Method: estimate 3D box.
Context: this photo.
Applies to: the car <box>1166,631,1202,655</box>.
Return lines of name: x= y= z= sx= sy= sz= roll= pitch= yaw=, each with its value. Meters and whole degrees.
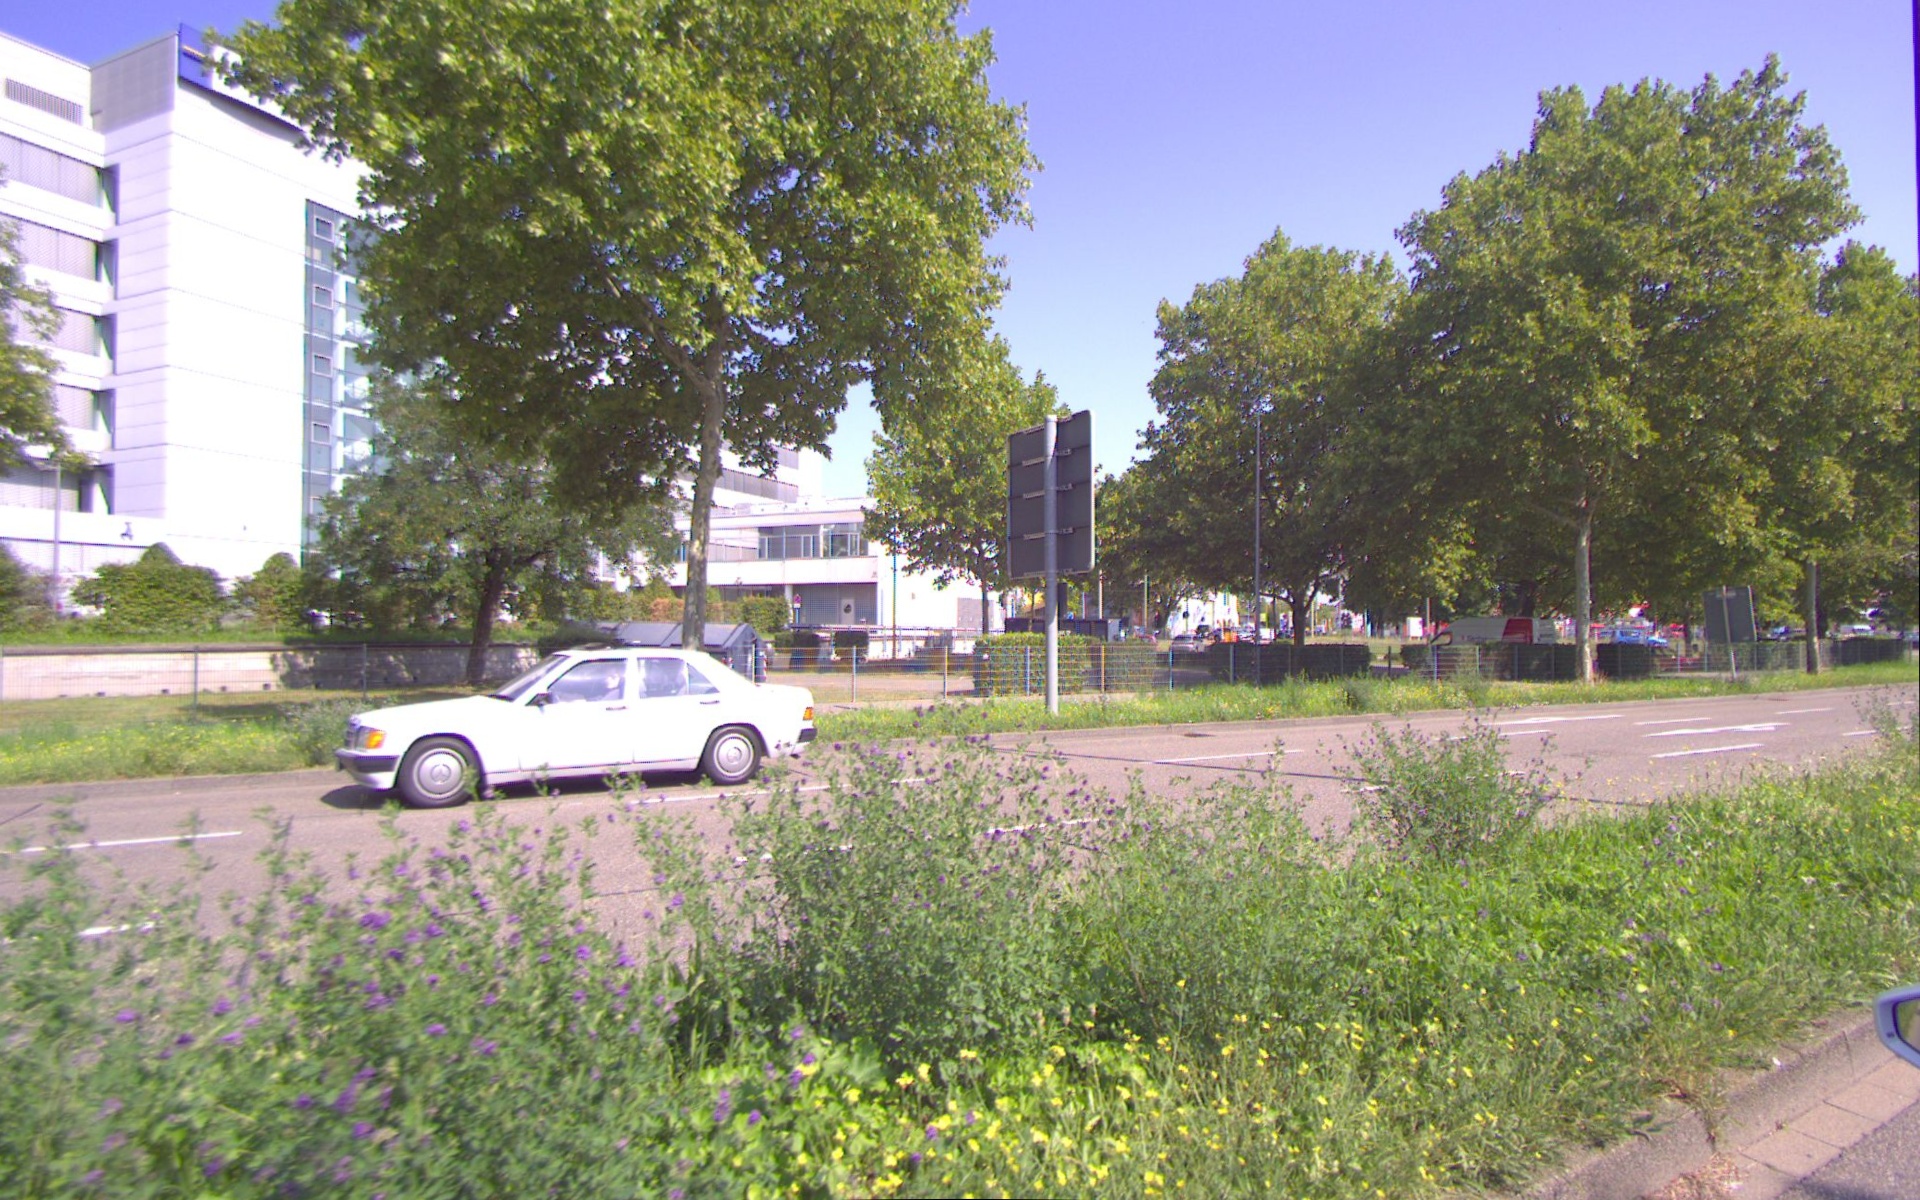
car: x=16.542 y=3.134 z=74.000 sx=1.895 sy=1.472 sz=3.997 roll=-1 pitch=1 yaw=23

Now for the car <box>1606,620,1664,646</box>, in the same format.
car: x=57.450 y=2.789 z=85.567 sx=3.928 sy=2.041 sz=1.996 roll=0 pitch=1 yaw=29

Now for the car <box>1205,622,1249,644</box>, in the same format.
car: x=26.305 y=3.210 z=98.910 sx=3.924 sy=2.041 sz=1.998 roll=-1 pitch=1 yaw=24

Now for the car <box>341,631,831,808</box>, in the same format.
car: x=-3.654 y=1.089 z=10.141 sx=4.363 sy=1.435 sz=1.785 roll=2 pitch=-4 yaw=-33

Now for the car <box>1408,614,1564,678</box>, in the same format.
car: x=22.437 y=1.882 z=43.098 sx=2.253 sy=2.369 sz=5.553 roll=-2 pitch=1 yaw=-32

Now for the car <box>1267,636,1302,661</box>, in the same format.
car: x=22.636 y=3.331 z=70.001 sx=1.895 sy=1.472 sz=3.997 roll=-1 pitch=1 yaw=23

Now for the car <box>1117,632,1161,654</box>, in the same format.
car: x=17.877 y=4.323 z=100.273 sx=3.924 sy=2.041 sz=1.998 roll=-1 pitch=1 yaw=24
